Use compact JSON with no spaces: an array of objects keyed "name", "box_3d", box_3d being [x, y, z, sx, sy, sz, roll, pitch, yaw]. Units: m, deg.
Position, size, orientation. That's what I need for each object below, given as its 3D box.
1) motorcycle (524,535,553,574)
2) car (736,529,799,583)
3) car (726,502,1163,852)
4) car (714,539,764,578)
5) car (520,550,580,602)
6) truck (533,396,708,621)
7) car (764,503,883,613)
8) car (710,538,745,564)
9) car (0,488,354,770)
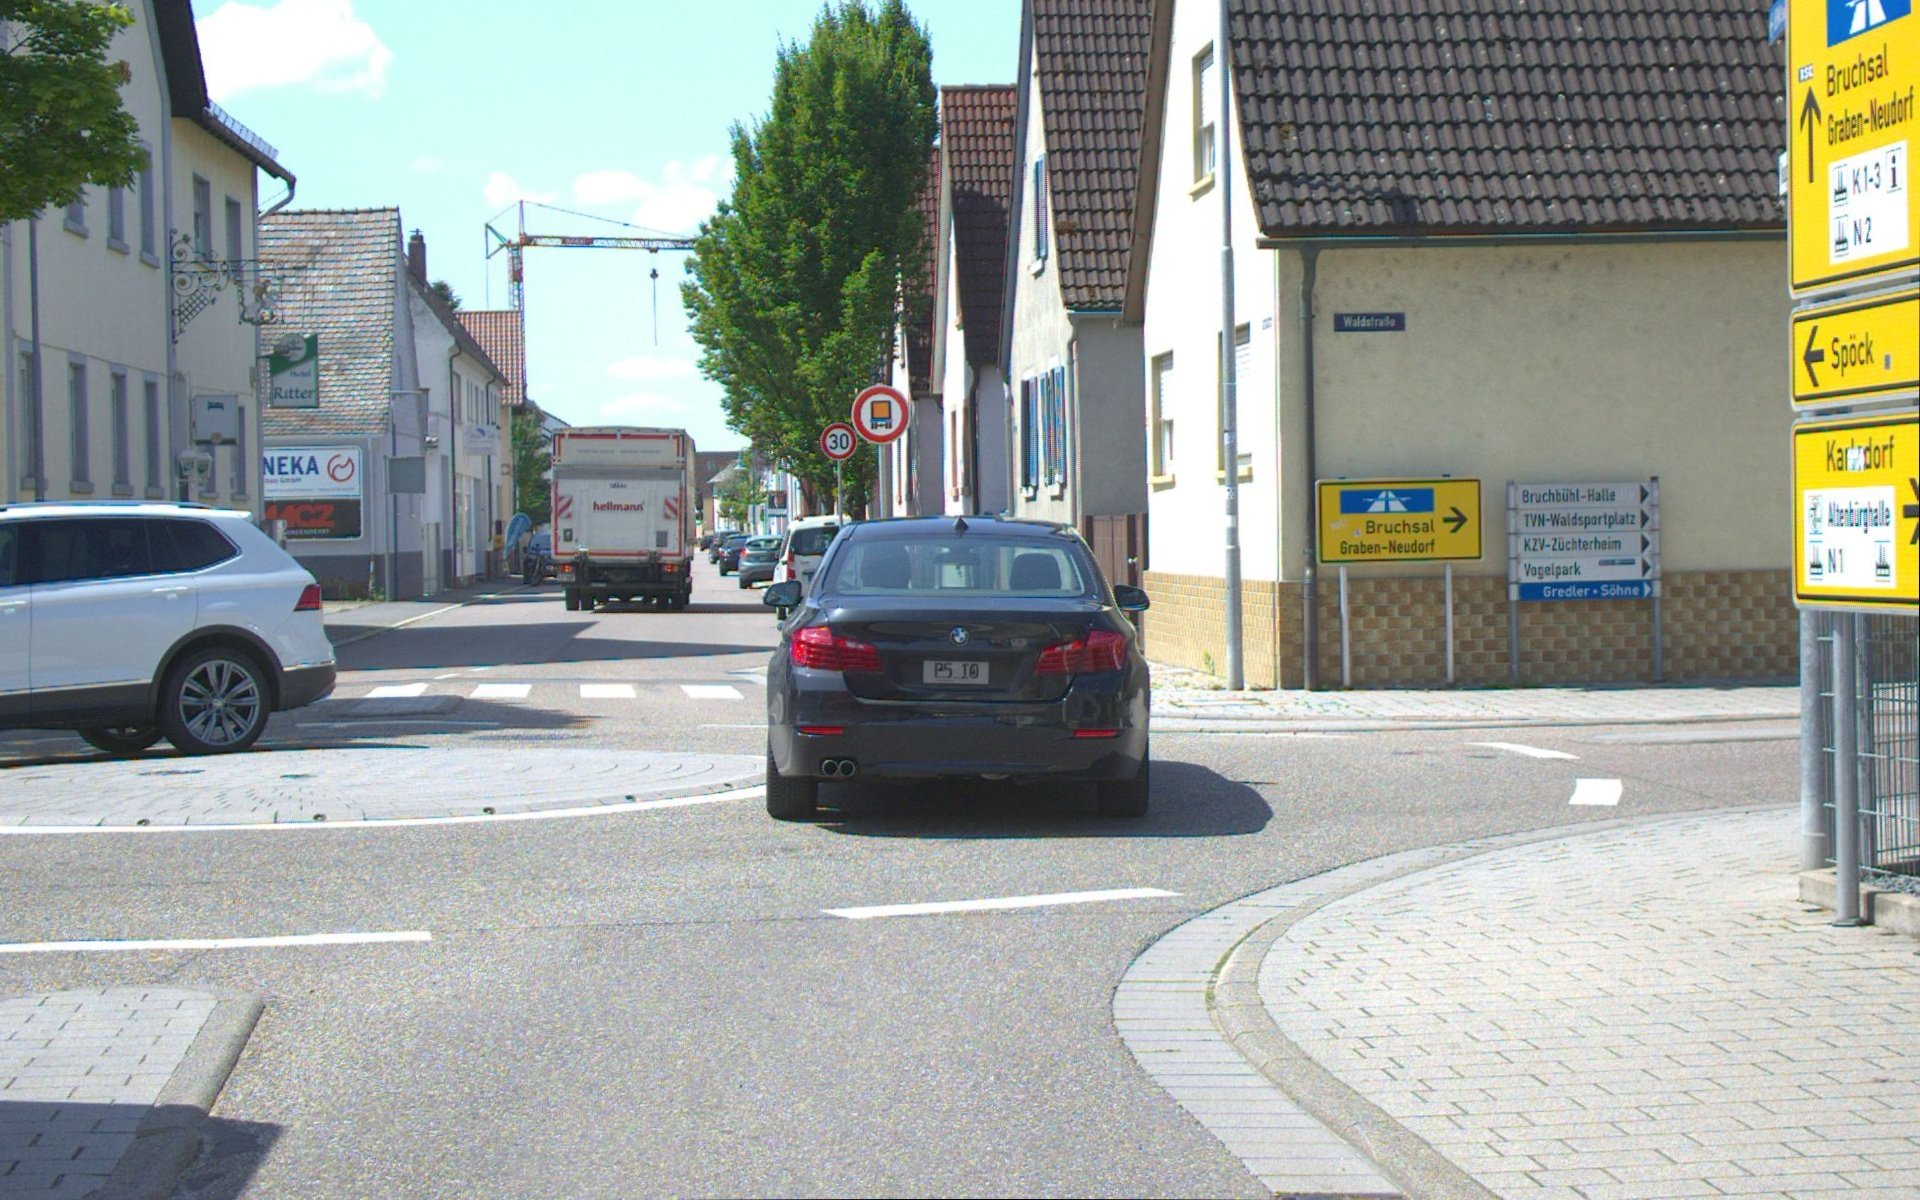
[{"name":"motorcycle","box_3d":[-13.072,-1.414,106.598,0.846,1.166,2.470,1,1,-6]},{"name":"car","box_3d":[-5.400,-1.245,96.615,1.719,1.456,4.157,0,1,-3]},{"name":"car","box_3d":[0.058,0.293,17.818,1.902,1.558,4.476,-1,1,4]},{"name":"car","box_3d":[-8.047,-1.530,124.941,1.719,1.350,4.157,-1,1,-4]},{"name":"car","box_3d":[-13.179,-0.794,110.682,1.809,1.583,4.001,-1,1,-5]},{"name":"truck","box_3d":[-6.804,-1.789,70.085,3.144,4.236,9.303,1,1,-3]},{"name":"car","box_3d":[-2.422,-0.747,60.076,1.719,1.784,4.145,-3,1,-6]},{"name":"car","box_3d":[-11.771,-2.478,173.715,1.719,1.264,4.157,-1,1,-4]},{"name":"car","box_3d":[-6.360,0.179,21.897,4.528,1.704,1.872,-2,2,-35]}]
